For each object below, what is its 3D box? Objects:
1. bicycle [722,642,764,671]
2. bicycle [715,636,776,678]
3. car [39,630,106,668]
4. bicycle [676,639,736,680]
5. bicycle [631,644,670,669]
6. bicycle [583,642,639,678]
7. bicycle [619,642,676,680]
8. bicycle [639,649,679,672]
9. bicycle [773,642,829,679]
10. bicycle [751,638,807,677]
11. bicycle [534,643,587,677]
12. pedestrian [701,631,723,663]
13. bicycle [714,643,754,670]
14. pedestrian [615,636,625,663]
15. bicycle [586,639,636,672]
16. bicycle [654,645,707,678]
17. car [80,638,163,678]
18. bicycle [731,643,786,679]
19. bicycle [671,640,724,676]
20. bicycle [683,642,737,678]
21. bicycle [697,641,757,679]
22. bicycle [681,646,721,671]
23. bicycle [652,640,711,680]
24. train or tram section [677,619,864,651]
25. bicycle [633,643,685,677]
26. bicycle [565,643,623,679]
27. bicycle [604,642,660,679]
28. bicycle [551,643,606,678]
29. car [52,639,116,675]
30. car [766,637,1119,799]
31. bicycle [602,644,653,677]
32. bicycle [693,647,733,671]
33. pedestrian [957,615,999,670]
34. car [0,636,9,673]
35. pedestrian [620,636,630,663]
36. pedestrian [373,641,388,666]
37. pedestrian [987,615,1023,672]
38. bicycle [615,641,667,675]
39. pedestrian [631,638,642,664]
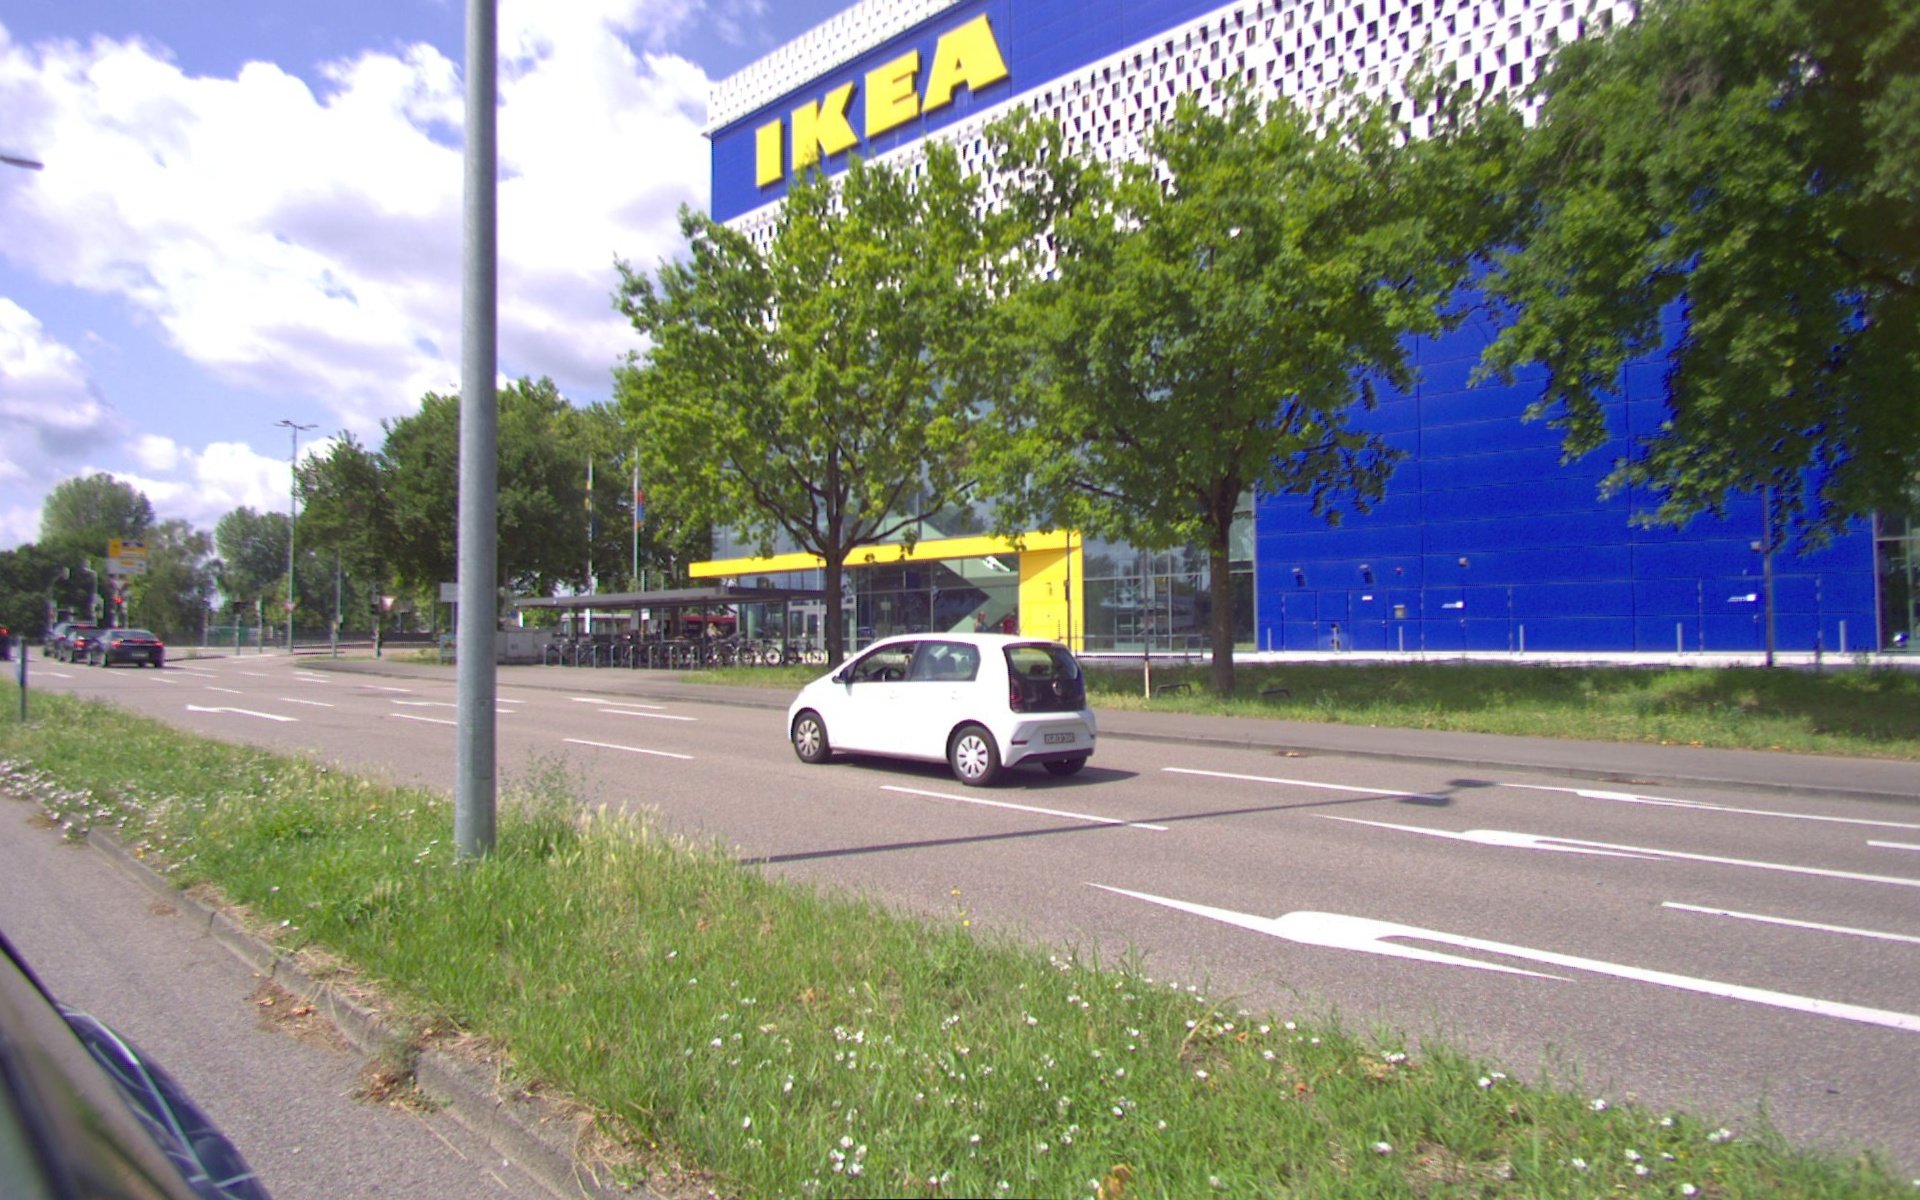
[{"bbox_3d":[-9.701,2.528,45.377,0.596,1.253,1.927,-2,-3,36],"label":"bicycle"},{"bbox_3d":[-6.777,1.790,32.099,0.629,1.282,1.905,-4,-3,40],"label":"bicycle"},{"bbox_3d":[-42.249,2.323,48.150,3.997,1.628,1.752,-1,-4,41],"label":"car"},{"bbox_3d":[-8.421,1.970,33.624,0.629,1.282,1.905,-4,-3,40],"label":"bicycle"},{"bbox_3d":[-15.125,2.734,49.450,0.467,1.181,1.938,-3,-3,36],"label":"bicycle"},{"bbox_3d":[-12.981,2.238,37.665,0.629,1.282,1.905,-4,-3,40],"label":"bicycle"},{"bbox_3d":[-11.183,2.170,36.218,0.629,1.282,1.905,-4,-3,40],"label":"bicycle"},{"bbox_3d":[-14.576,2.915,49.083,0.528,1.078,1.916,-2,-3,36],"label":"bicycle"},{"bbox_3d":[-5.319,2.017,33.900,0.629,1.193,1.905,-4,-3,40],"label":"bicycle"},{"bbox_3d":[-6.157,1.962,34.525,0.629,1.282,1.905,-4,-3,40],"label":"bicycle"},{"bbox_3d":[-15.780,2.374,39.990,0.629,1.282,1.905,-4,-3,40],"label":"bicycle"},{"bbox_3d":[-13.481,2.574,55.065,0.710,1.719,0.886,-2,-3,40],"label":"pedestrian"},{"bbox_3d":[-10.210,2.546,45.817,0.528,1.219,1.916,-2,-3,36],"label":"bicycle"},{"bbox_3d":[-21.607,3.124,64.323,0.449,1.716,0.399,-3,-3,35],"label":"pedestrian"},{"bbox_3d":[-14.367,2.277,41.664,0.629,1.282,1.905,-4,-3,40],"label":"bicycle"},{"bbox_3d":[-10.598,2.309,38.374,0.629,1.192,1.905,-4,-3,40],"label":"bicycle"},{"bbox_3d":[-32.066,2.214,38.653,4.516,1.432,1.646,-2,-5,41],"label":"car"},{"bbox_3d":[-7.002,2.104,35.216,0.629,1.188,1.905,-4,-3,40],"label":"bicycle"},{"bbox_3d":[-9.792,2.149,37.786,0.629,1.282,1.905,-4,-3,40],"label":"bicycle"},{"bbox_3d":[-9.120,2.181,37.015,0.629,1.282,1.905,-4,-3,40],"label":"bicycle"},{"bbox_3d":[-7.548,1.940,32.873,0.629,1.192,1.905,-4,-3,40],"label":"bicycle"},{"bbox_3d":[-12.139,2.732,47.407,0.519,1.098,1.911,-3,-3,37],"label":"bicycle"},{"bbox_3d":[-9.444,2.022,34.371,0.629,1.282,1.905,-4,-3,40],"label":"bicycle"},{"bbox_3d":[-21.658,4.369,119.995,4.526,3.055,24.796,-3,-5,39],"label":"train or tram section"},{"bbox_3d":[-11.649,2.310,39.259,0.629,1.282,1.905,-4,-3,40],"label":"bicycle"},{"bbox_3d":[-13.912,2.302,38.513,0.629,1.282,2.067,-4,-3,40],"label":"bicycle"},{"bbox_3d":[-11.952,2.204,36.885,0.629,1.282,1.905,-4,-3,40],"label":"bicycle"},{"bbox_3d":[-14.740,2.330,39.136,0.629,1.282,1.905,-4,-3,40],"label":"bicycle"},{"bbox_3d":[-36.608,2.355,42.274,4.094,1.402,1.396,-2,-5,41],"label":"car"},{"bbox_3d":[-0.289,1.145,10.865,3.669,1.440,1.626,-2,-4,42],"label":"car"},{"bbox_3d":[-13.367,2.425,40.779,0.629,1.282,1.905,-4,-3,40],"label":"bicycle"},{"bbox_3d":[-11.391,2.731,46.789,0.528,1.078,1.916,-2,-3,36],"label":"bicycle"},{"bbox_3d":[0.561,1.327,31.754,0.886,1.715,0.940,-2,-2,41],"label":"pedestrian"},{"bbox_3d":[-40.899,2.223,42.006,4.129,1.505,1.587,-2,-5,41],"label":"car"},{"bbox_3d":[-21.183,3.130,64.013,0.515,1.716,0.405,-3,-3,35],"label":"pedestrian"},{"bbox_3d":[-34.323,3.177,59.936,0.616,1.502,0.435,-1,-3,24],"label":"pedestrian"},{"bbox_3d":[1.482,1.431,33.184,0.886,1.836,0.746,-2,-2,41],"label":"pedestrian"},{"bbox_3d":[-12.668,2.302,40.227,0.629,1.282,1.905,-4,-3,40],"label":"bicycle"},{"bbox_3d":[-20.835,3.280,65.129,0.409,1.716,0.522,-3,-3,32],"label":"pedestrian"}]
